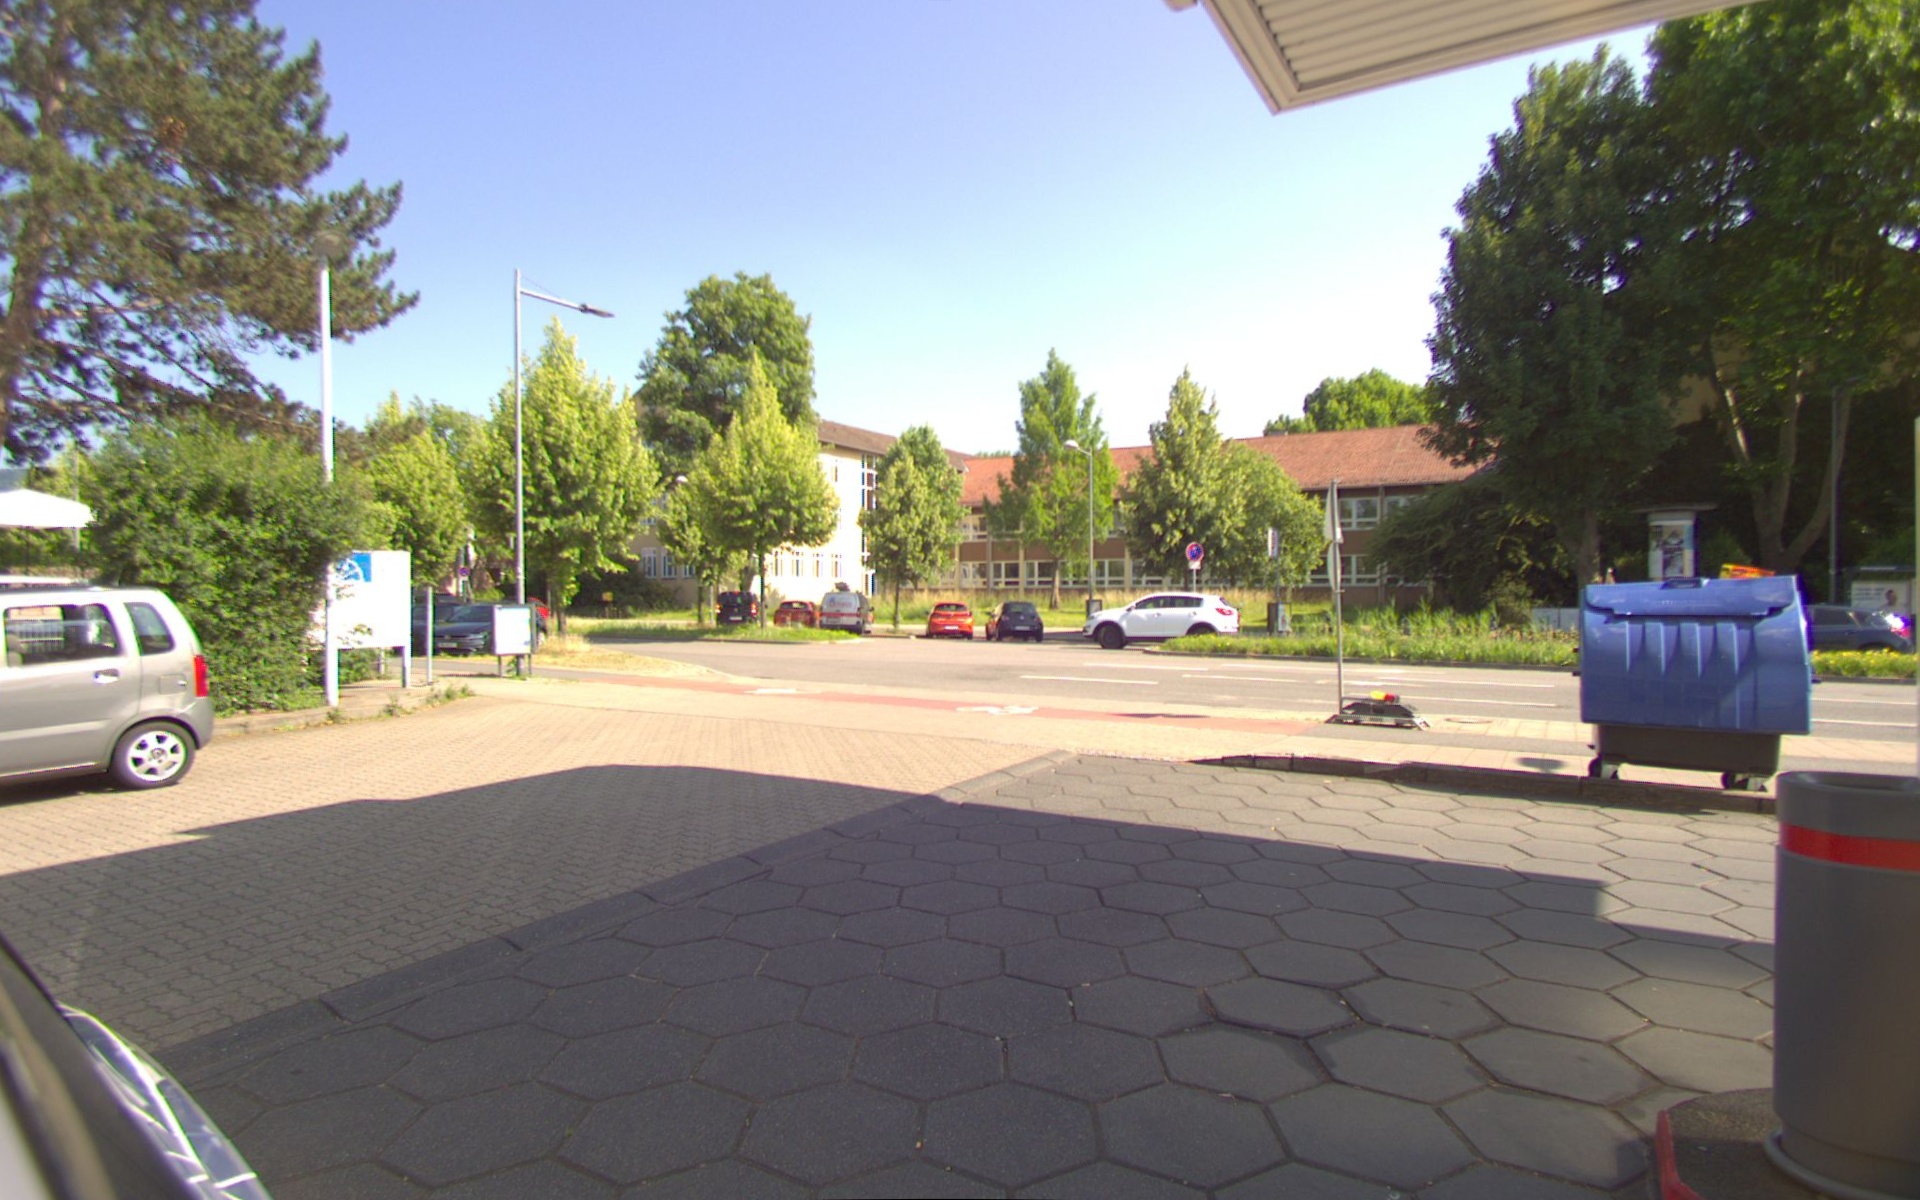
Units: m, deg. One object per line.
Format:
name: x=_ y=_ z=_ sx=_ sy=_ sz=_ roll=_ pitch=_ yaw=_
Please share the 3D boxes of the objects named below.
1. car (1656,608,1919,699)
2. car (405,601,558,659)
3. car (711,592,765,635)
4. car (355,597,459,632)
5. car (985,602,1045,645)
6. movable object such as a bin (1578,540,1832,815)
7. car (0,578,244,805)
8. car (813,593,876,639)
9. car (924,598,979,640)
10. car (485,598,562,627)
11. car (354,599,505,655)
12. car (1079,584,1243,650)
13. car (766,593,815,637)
car: x=17.862 y=1.075 z=22.060 sx=4.378 sy=1.782 sz=1.978 roll=0 pitch=0 yaw=33
car: x=-12.912 y=0.803 z=27.622 sx=1.858 sy=1.428 sz=4.219 roll=1 pitch=-1 yaw=5
car: x=-9.597 y=0.613 z=44.028 sx=1.852 sy=1.735 sz=4.232 roll=2 pitch=-1 yaw=-7
car: x=-27.454 y=0.738 z=50.204 sx=5.640 sy=1.623 sz=1.978 roll=0 pitch=-3 yaw=32
car: x=1.991 y=0.876 z=37.655 sx=1.716 sy=1.471 sz=4.229 roll=1 pitch=-1 yaw=-4
movable object such as a bin: x=5.198 y=0.501 z=7.195 sx=1.333 sy=1.701 sz=1.327 roll=0 pitch=-2 yaw=33
car: x=-7.785 y=0.672 z=7.555 sx=1.688 sy=1.629 sz=3.620 roll=0 pitch=1 yaw=34
car: x=-4.704 y=0.679 z=41.743 sx=1.857 sy=1.735 sz=4.222 roll=1 pitch=-1 yaw=3
car: x=-0.381 y=0.732 z=39.081 sx=1.853 sy=1.471 sz=4.229 roll=1 pitch=-1 yaw=-4
car: x=-22.995 y=0.678 z=53.403 sx=1.863 sy=1.401 sz=3.710 roll=1 pitch=-1 yaw=14
car: x=-15.136 y=0.764 z=29.173 sx=1.858 sy=1.493 sz=4.219 roll=1 pitch=-1 yaw=5
car: x=5.756 y=0.451 z=28.887 sx=4.358 sy=1.782 sz=1.987 roll=0 pitch=0 yaw=20
car: x=-7.178 y=0.653 z=43.223 sx=1.852 sy=1.735 sz=4.232 roll=2 pitch=-1 yaw=-7
